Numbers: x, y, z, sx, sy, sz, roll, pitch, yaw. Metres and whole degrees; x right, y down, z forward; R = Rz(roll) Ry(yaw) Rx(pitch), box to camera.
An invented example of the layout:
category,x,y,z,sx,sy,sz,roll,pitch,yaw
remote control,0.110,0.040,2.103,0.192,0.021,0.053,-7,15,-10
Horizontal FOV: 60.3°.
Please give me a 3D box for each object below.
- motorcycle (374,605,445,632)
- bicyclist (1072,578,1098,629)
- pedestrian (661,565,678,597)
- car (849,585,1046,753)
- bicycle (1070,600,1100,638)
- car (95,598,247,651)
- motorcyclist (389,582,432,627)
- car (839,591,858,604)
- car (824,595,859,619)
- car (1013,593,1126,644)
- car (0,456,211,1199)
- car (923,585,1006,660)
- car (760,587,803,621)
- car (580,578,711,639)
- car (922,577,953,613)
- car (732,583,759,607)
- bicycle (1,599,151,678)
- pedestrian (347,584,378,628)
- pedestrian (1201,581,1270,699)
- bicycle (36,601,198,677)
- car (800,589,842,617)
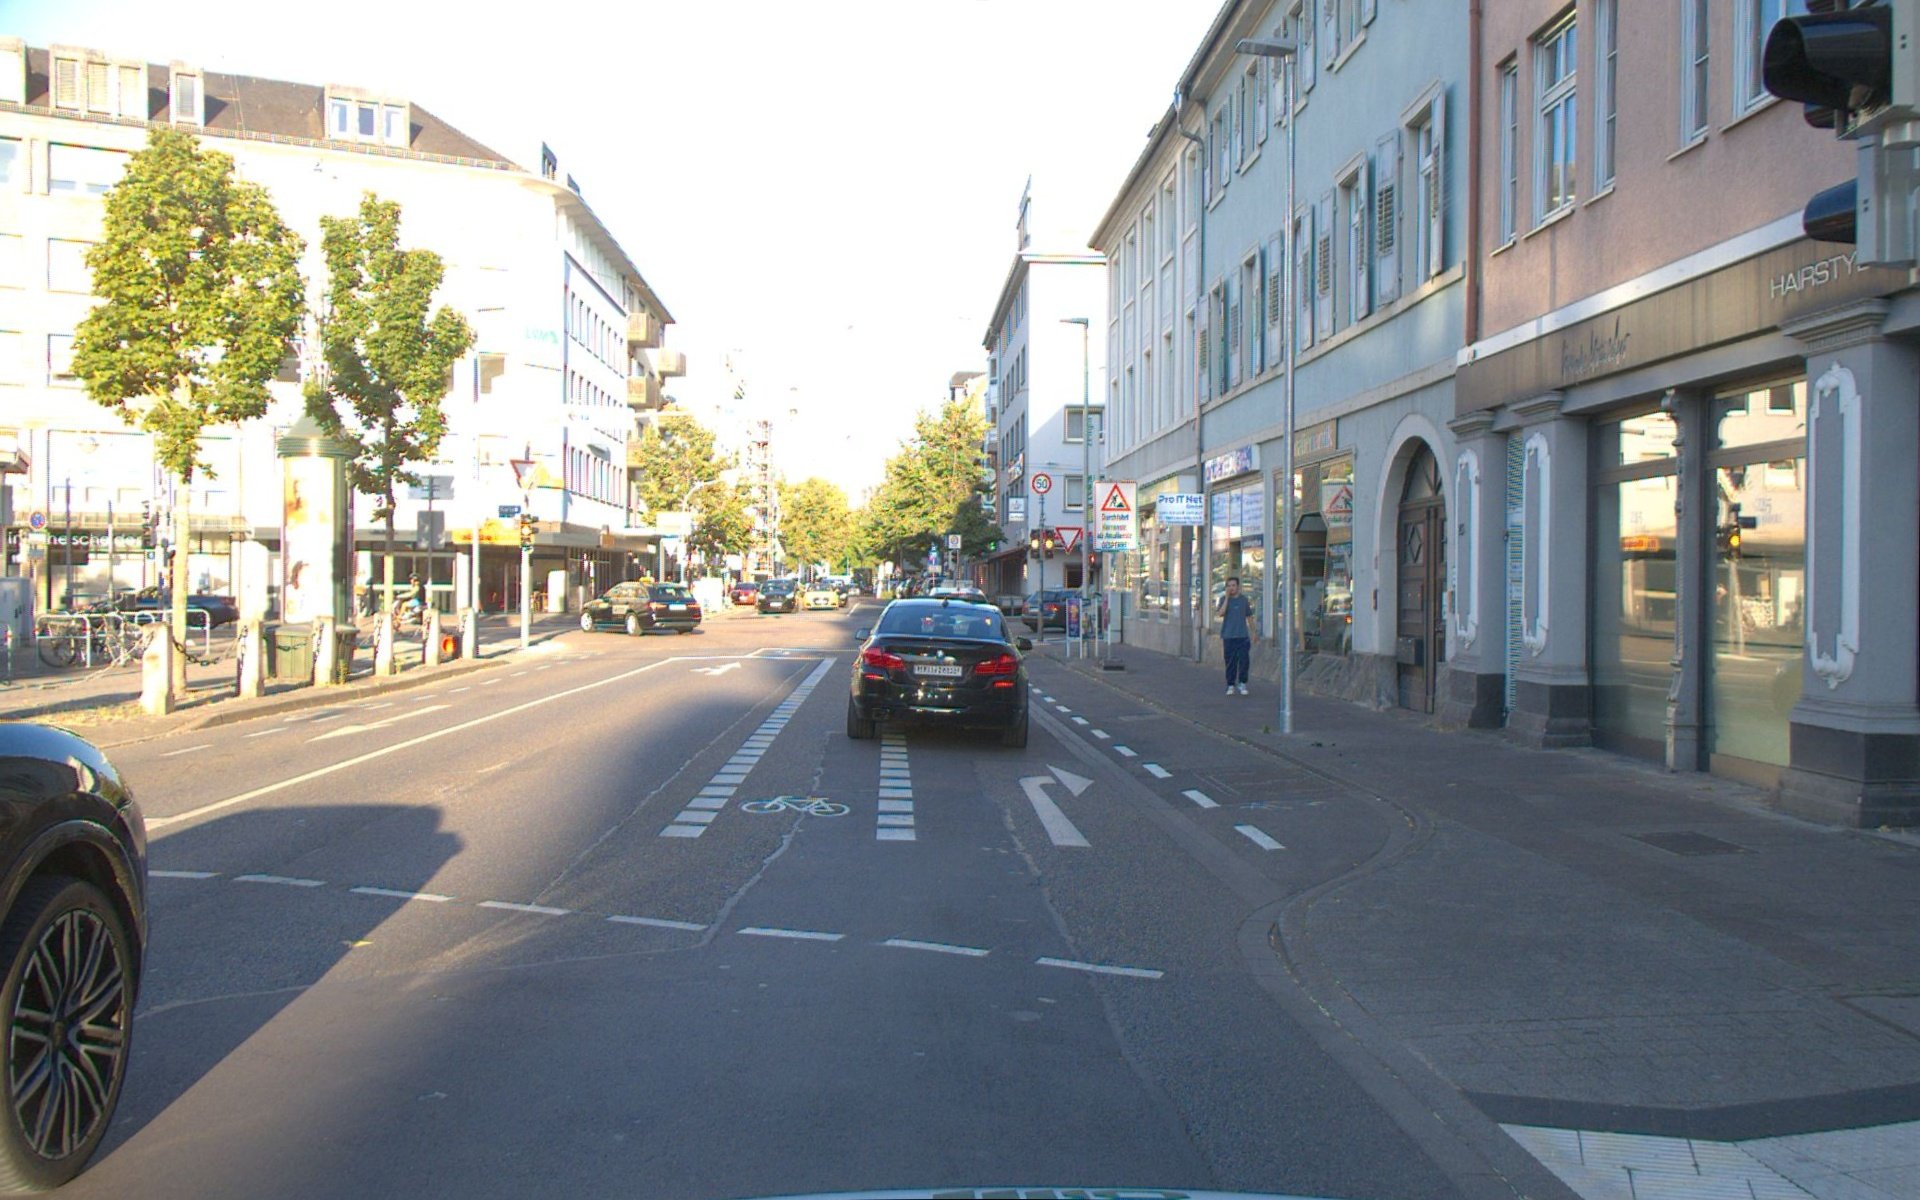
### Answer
category,x,y,z,sx,sy,sz,roll,pitch,yaw
motorcycle,-16.747,0.555,50.319,1.983,0.794,0.664,1,0,10
bicyclist,3.785,0.098,50.009,0.707,1.534,0.899,0,0,-1
pedestrian,-15.953,-1.046,90.935,0.807,1.706,0.871,0,0,-4
car,-0.256,0.650,18.170,1.866,1.567,4.446,2,0,-4
bicycle,3.778,0.558,50.098,0.676,1.126,1.895,0,0,-2
car,-23.901,0.730,50.271,3.926,1.512,1.990,0,0,-19
motorcyclist,-16.726,0.127,50.354,0.970,1.343,0.769,1,0,8
car,-11.641,-0.282,173.216,1.701,1.315,3.993,0,0,-8
car,-6.666,0.402,92.999,1.701,1.315,3.993,0,0,-8
car,3.652,0.590,54.596,1.803,1.603,4.083,1,1,37
car,-2.914,0.589,2.227,1.910,1.744,4.559,0,1,-3
car,0.054,0.468,37.982,1.795,1.603,4.099,0,1,-1
car,-8.745,0.171,80.645,1.956,1.646,3.993,0,0,-8
car,-9.027,0.206,47.198,1.860,1.623,4.388,0,1,-38
car,-1.245,-0.273,89.685,1.393,1.887,3.049,1,0,-6
car,-13.958,-0.329,107.381,1.701,1.487,3.993,0,0,-8
bicycle,-14.681,0.631,27.511,1.965,1.278,0.949,0,0,-1
pedestrian,-21.351,0.201,59.068,0.934,1.564,0.901,0,0,-27
pedestrian,3.973,0.567,23.929,0.807,1.670,0.871,0,0,-4
bicycle,-14.640,0.670,28.772,2.394,1.278,0.787,0,0,-1
car,-7.262,0.139,86.202,1.956,1.467,3.993,0,0,-8
